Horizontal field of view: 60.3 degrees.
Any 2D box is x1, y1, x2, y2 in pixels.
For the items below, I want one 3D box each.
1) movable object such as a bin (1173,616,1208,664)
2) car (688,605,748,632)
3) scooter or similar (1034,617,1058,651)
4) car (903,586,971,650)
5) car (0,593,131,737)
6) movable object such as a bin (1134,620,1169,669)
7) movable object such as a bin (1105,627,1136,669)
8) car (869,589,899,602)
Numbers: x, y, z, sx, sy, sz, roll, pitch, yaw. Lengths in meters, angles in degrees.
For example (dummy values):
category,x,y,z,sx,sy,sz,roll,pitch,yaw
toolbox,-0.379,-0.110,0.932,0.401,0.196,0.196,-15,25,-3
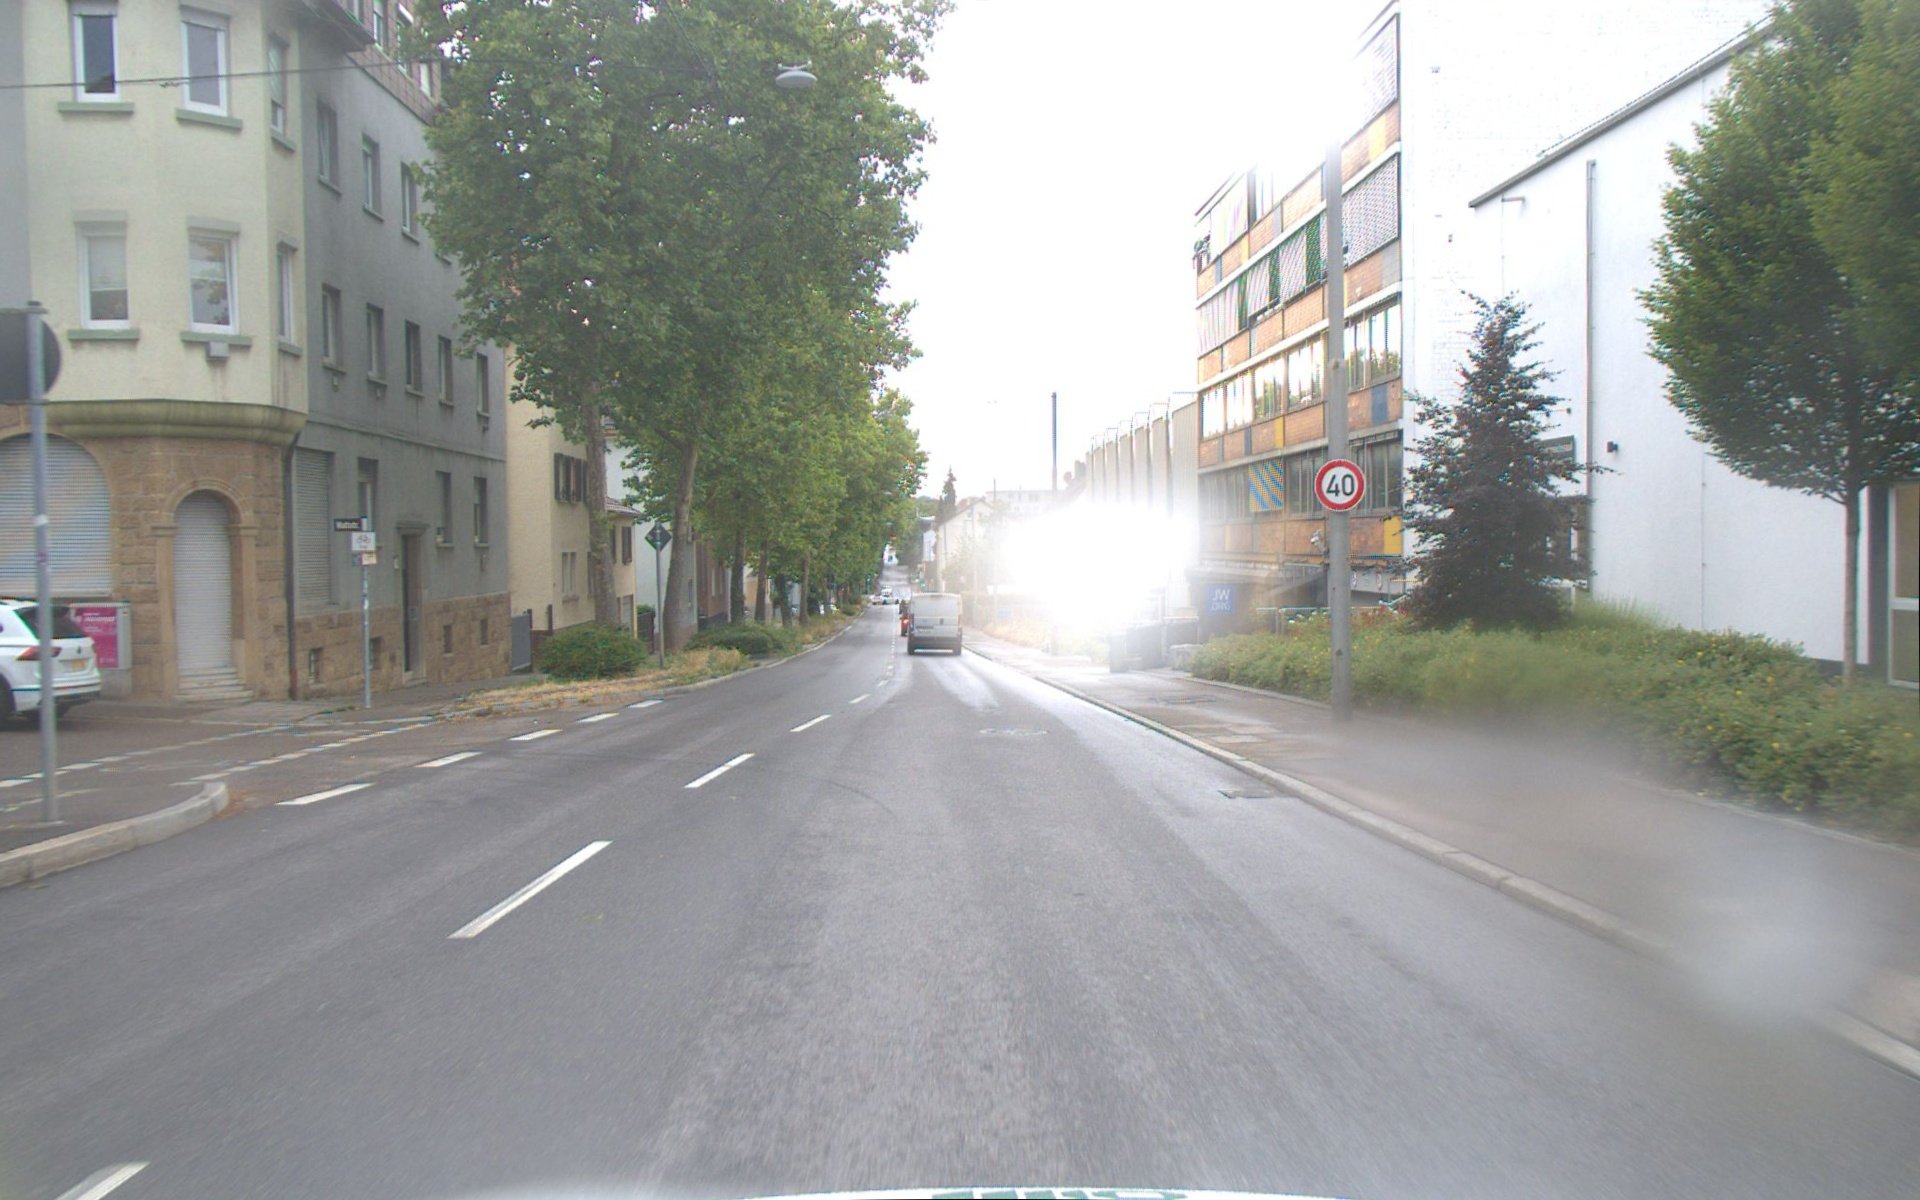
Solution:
category,x,y,z,sx,sy,sz,roll,pitch,yaw
movable object such as a bin,5.553,0.957,39.874,0.681,1.101,0.778,-4,0,-1
car,-17.780,1.329,121.709,4.113,1.925,1.999,-1,0,-3
scooter or similar,3.033,1.191,58.479,0.593,1.182,1.697,-1,-1,-6
car,-0.930,0.632,63.228,2.300,2.197,4.774,-2,2,-4
car,-13.521,0.768,21.813,4.098,1.733,1.999,2,0,-2
movable object such as a bin,4.601,1.068,39.788,0.681,1.101,0.778,-4,0,-1
movable object such as a bin,3.837,1.145,39.602,0.607,0.953,0.686,-4,0,-1
car,-10.176,-0.599,221.650,1.960,1.604,3.984,0,0,37
